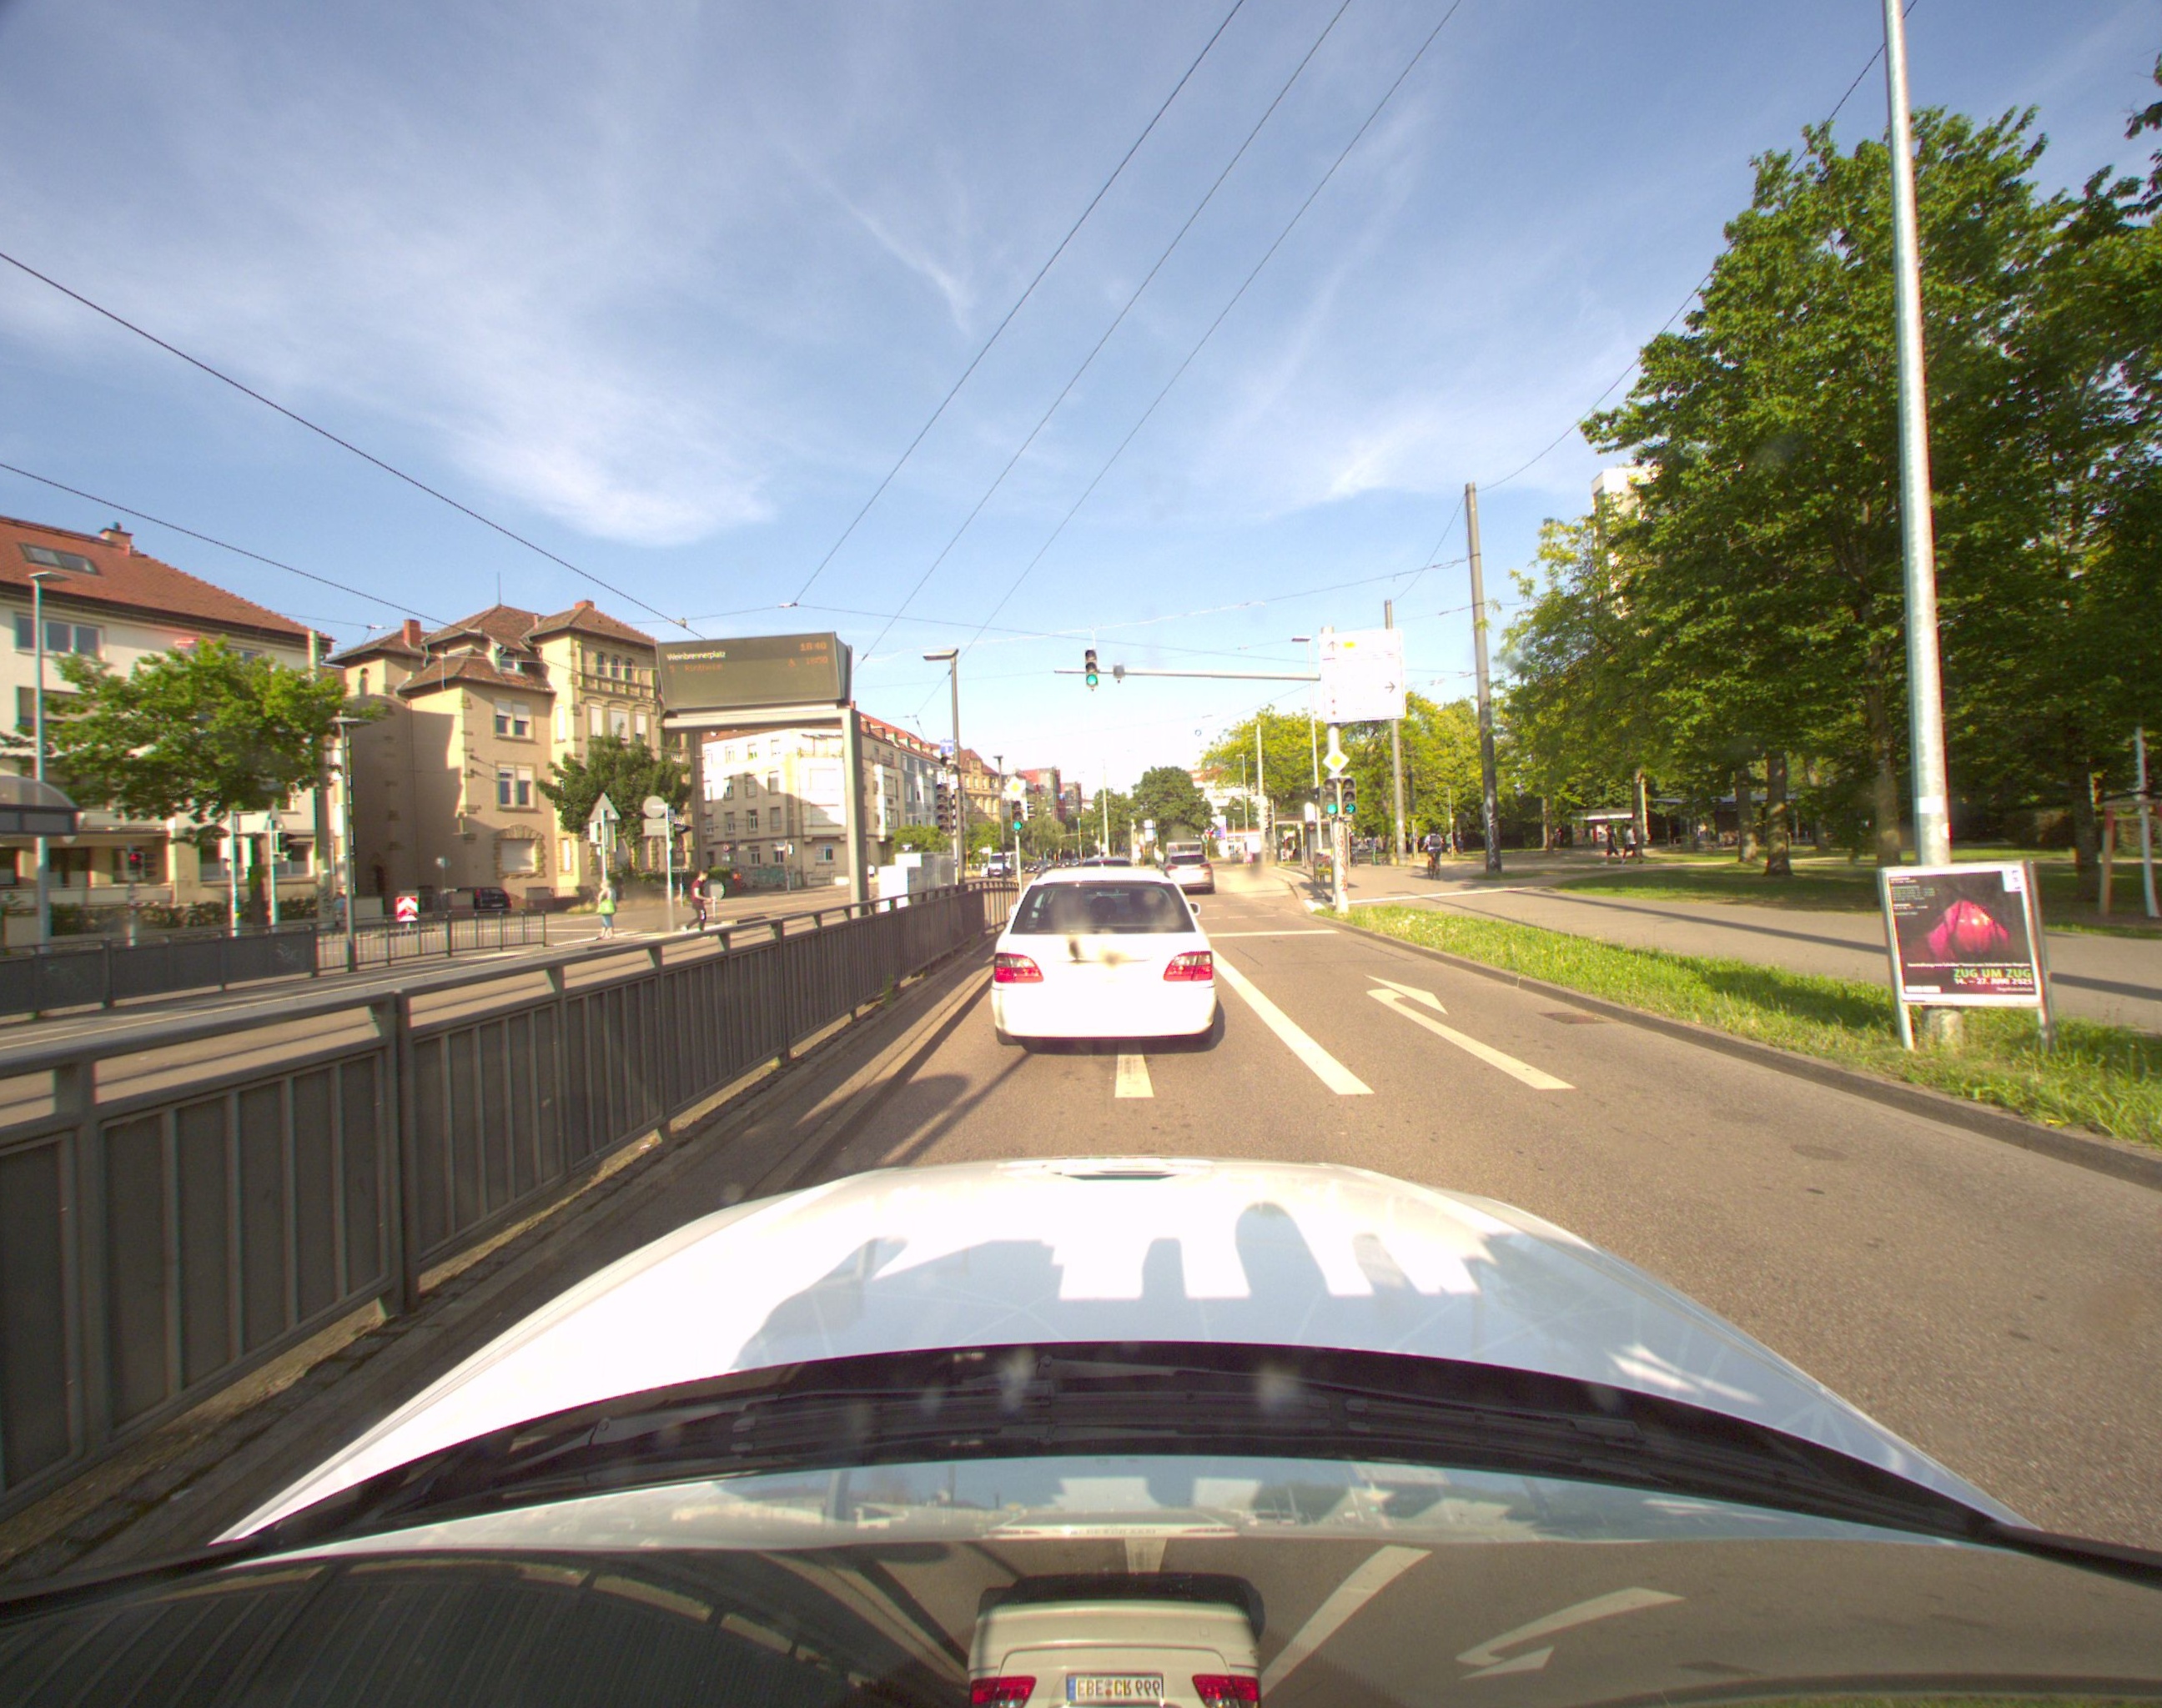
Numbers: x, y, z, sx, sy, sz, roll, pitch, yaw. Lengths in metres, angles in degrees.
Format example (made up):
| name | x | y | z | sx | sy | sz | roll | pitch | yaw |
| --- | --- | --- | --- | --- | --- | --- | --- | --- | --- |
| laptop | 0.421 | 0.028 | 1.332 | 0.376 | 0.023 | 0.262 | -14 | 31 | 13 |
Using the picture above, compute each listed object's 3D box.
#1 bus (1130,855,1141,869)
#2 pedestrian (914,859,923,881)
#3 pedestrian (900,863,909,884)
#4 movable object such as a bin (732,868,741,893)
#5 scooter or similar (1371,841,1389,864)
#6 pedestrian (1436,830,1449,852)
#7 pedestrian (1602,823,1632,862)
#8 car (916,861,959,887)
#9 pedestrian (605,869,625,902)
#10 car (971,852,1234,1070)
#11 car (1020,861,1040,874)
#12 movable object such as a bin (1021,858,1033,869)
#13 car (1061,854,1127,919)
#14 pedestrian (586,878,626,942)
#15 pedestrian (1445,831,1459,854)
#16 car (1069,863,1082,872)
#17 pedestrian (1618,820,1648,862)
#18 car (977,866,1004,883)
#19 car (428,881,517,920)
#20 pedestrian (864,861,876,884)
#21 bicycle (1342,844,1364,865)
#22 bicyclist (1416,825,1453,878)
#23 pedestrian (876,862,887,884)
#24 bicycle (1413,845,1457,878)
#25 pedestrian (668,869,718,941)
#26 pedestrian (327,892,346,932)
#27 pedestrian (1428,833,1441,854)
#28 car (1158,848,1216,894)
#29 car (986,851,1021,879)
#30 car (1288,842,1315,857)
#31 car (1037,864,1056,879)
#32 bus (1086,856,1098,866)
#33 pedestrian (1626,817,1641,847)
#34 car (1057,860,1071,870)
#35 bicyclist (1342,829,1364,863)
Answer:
| name | x | y | z | sx | sy | sz | roll | pitch | yaw |
| --- | --- | --- | --- | --- | --- | --- | --- | --- | --- |
| bus | 9.696 | 1.438 | 144.744 | 1.790 | 2.555 | 4.004 | 0 | -1 | 4 |
| pedestrian | -14.356 | 1.396 | 72.133 | 0.582 | 1.881 | 0.627 | -3 | 0 | 1 |
| pedestrian | -15.541 | 1.715 | 71.815 | 0.582 | 1.881 | 0.627 | -3 | 0 | 1 |
| movable object such as a bin | -23.508 | 1.810 | 55.538 | 0.265 | 1.709 | 2.360 | -3 | 0 | -29 |
| scooter or similar | 16.134 | -0.060 | 43.960 | 0.351 | 1.232 | 1.131 | -3 | 0 | -12 |
| pedestrian | 27.489 | -0.998 | 61.981 | 0.638 | 1.665 | 0.691 | -3 | -1 | 1 |
| pedestrian | 24.447 | -0.511 | 37.158 | 0.673 | 1.777 | 0.875 | 0 | 0 | -18 |
| car | -9.796 | 1.309 | 55.794 | 1.667 | 1.526 | 4.133 | -3 | 1 | 8 |
| pedestrian | -24.228 | 1.629 | 42.331 | 0.672 | 1.651 | 0.608 | -3 | -1 | 28 |
| car | 0.212 | 0.764 | 7.655 | 1.828 | 1.501 | 3.816 | -1 | 0 | 2 |
| car | -6.211 | 1.607 | 99.610 | 1.759 | 1.433 | 4.005 | -3 | 0 | 4 |
| movable object such as a bin | -8.107 | 1.417 | 122.151 | 1.600 | 1.421 | 1.082 | -3 | 0 | -5 |
| car | 0.388 | 0.833 | 22.379 | 1.635 | 1.600 | 3.817 | -1 | 0 | 2 |
| pedestrian | -12.470 | 1.458 | 21.386 | 0.588 | 1.589 | 0.715 | -3 | -1 | -2 |
| pedestrian | 27.712 | -0.823 | 60.798 | 0.638 | 1.665 | 0.691 | -3 | -1 | 1 |
| car | -0.867 | 2.219 | 138.719 | 1.680 | 1.420 | 4.006 | -3 | -1 | 6 |
| pedestrian | 25.381 | -0.571 | 37.446 | 0.674 | 1.897 | 0.873 | 0 | -1 | -23 |
| car | -8.794 | 2.014 | 79.597 | 1.785 | 1.457 | 4.006 | -3 | 0 | 6 |
| car | -29.354 | 2.243 | 39.274 | 3.950 | 1.632 | 1.787 | -3 | 0 | 26 |
| pedestrian | -17.912 | 1.573 | 69.137 | 0.653 | 1.881 | 0.629 | -3 | 0 | 16 |
| bicycle | 14.591 | 0.032 | 43.734 | 0.637 | 1.088 | 1.736 | -5 | -1 | 6 |
| bicyclist | 12.364 | -0.080 | 28.523 | 0.647 | 1.745 | 1.140 | -6 | -1 | 1 |
| pedestrian | -16.788 | 1.579 | 68.613 | 0.672 | 1.848 | 0.649 | -3 | 0 | -1 |
| bicycle | 12.401 | 0.265 | 28.594 | 0.638 | 1.088 | 1.940 | -5 | -1 | 1 |
| pedestrian | -9.478 | 1.239 | 19.917 | 0.879 | 1.670 | 0.670 | -3 | -1 | -6 |
| pedestrian | -29.011 | 2.246 | 31.738 | 0.400 | 1.516 | 0.392 | -3 | -1 | 28 |
| pedestrian | 27.247 | -0.790 | 62.833 | 0.638 | 1.610 | 0.691 | -3 | -1 | 1 |
| car | 3.987 | 0.611 | 31.135 | 1.828 | 1.600 | 3.816 | -1 | 0 | 2 |
| car | -6.817 | 0.933 | 72.398 | 2.167 | 2.239 | 5.259 | -3 | 0 | 4 |
| car | 25.047 | -0.515 | 92.414 | 1.835 | 1.515 | 4.026 | -5 | -1 | 32 |
| car | -3.908 | 1.969 | 92.371 | 1.760 | 1.494 | 4.746 | -3 | 1 | 2 |
| bus | 1.905 | 1.218 | 140.080 | 1.837 | 1.636 | 4.161 | -3 | 0 | 2 |
| pedestrian | 35.390 | -1.385 | 52.186 | 0.463 | 1.868 | 0.600 | 0 | -1 | -29 |
| car | -2.631 | 1.671 | 127.138 | 1.681 | 1.441 | 4.007 | -3 | 0 | 6 |
| bicyclist | 14.560 | -0.440 | 43.643 | 0.716 | 1.745 | 1.142 | -6 | -1 | 5 |
